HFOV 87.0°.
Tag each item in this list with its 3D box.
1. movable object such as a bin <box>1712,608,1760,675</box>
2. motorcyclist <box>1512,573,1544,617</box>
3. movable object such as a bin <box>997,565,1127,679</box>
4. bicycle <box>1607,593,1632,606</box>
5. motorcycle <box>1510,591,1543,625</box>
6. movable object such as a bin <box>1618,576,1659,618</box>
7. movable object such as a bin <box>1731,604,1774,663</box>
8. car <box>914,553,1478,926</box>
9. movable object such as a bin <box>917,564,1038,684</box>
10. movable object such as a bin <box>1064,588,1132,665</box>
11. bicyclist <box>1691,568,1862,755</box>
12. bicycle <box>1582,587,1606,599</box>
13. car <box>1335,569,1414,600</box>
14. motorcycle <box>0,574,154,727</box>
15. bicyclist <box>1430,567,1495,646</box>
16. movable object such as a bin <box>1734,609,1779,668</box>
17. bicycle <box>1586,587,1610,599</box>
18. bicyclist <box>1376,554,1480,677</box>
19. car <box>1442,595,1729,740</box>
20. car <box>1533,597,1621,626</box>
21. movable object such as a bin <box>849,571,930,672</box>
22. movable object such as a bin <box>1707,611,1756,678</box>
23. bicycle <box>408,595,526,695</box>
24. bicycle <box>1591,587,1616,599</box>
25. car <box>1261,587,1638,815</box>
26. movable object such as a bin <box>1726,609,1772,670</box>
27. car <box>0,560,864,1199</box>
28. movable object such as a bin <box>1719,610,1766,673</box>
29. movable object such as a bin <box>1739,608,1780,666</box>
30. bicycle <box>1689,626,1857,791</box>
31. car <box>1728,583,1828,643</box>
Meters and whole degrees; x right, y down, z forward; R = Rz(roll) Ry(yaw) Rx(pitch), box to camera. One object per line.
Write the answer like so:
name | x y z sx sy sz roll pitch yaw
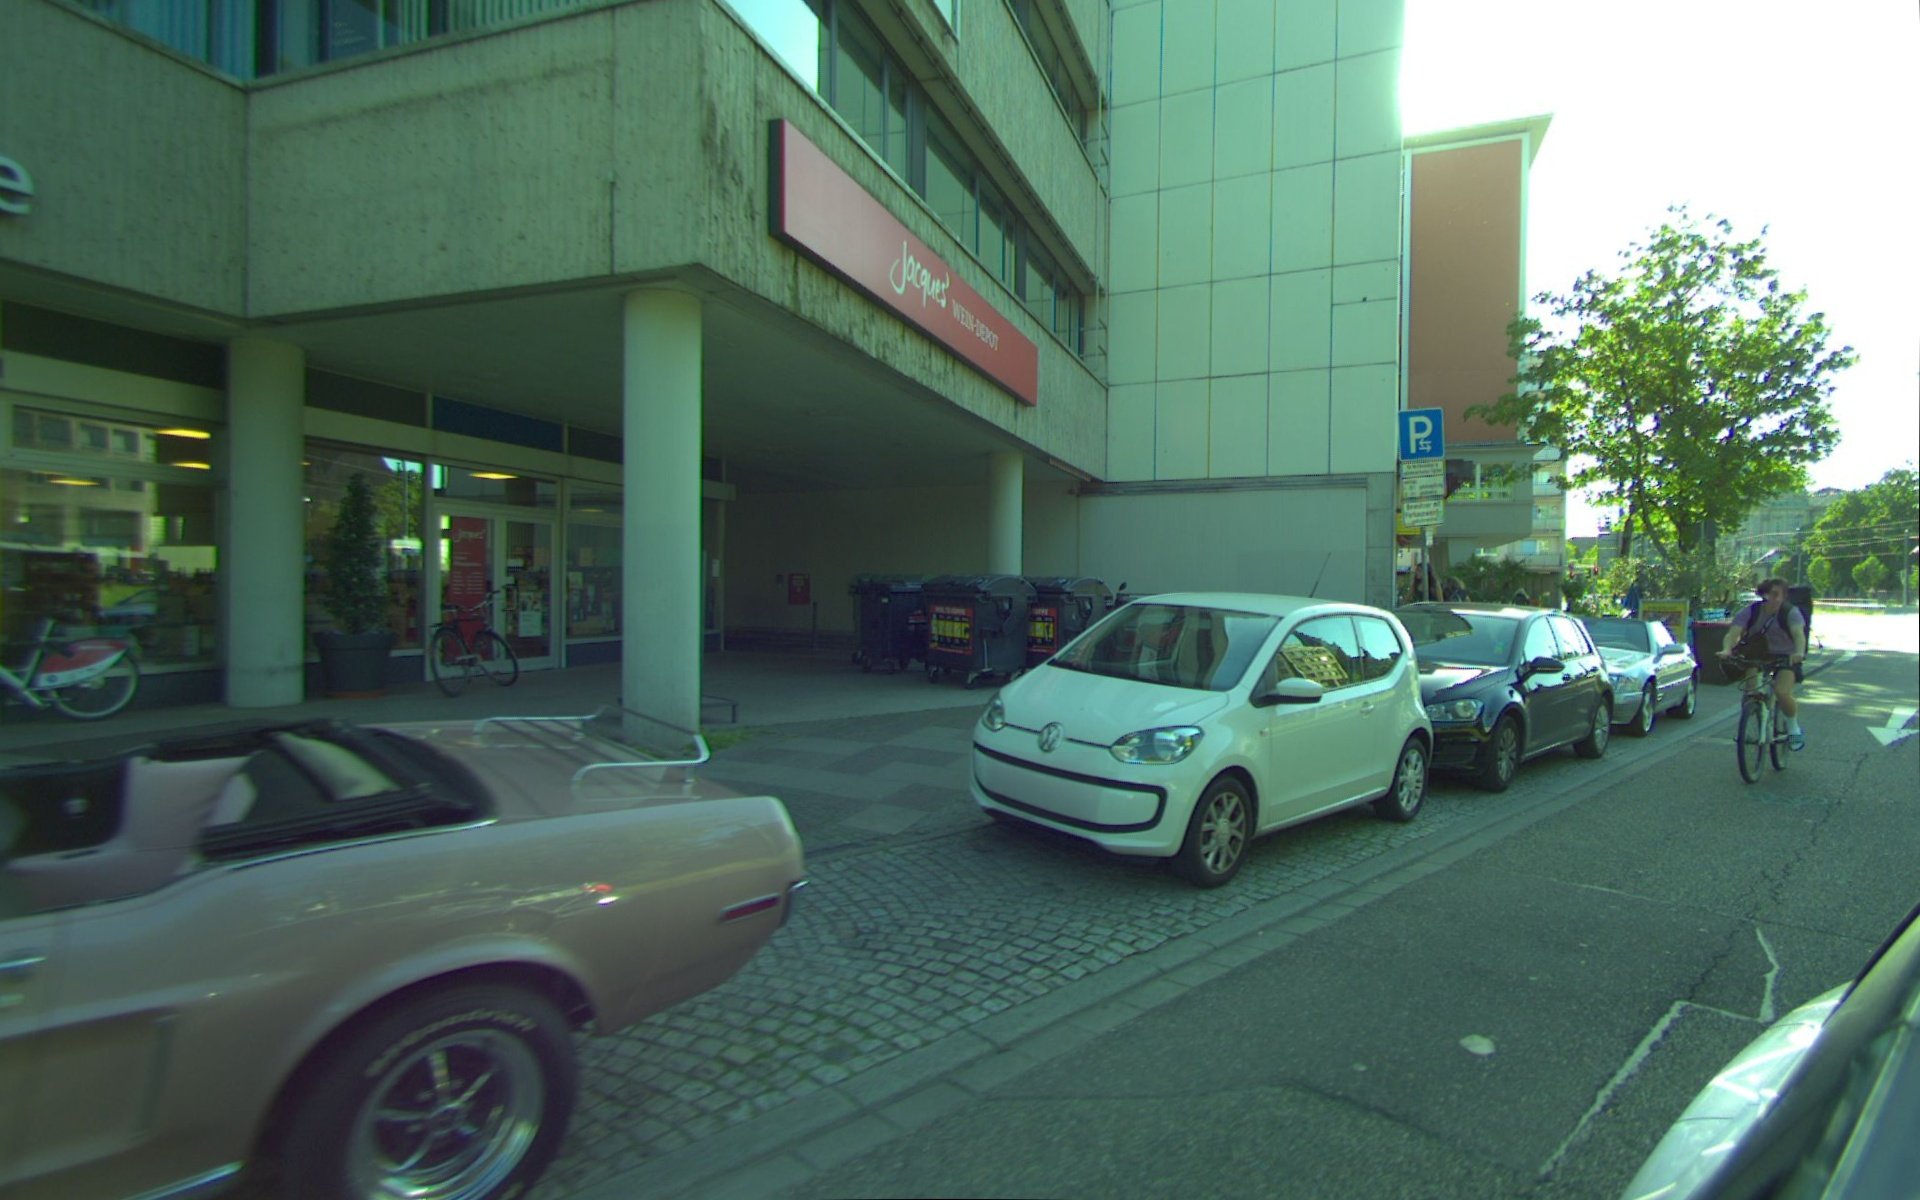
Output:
movable object such as a bin | 13.618 0.720 17.757 0.609 1.119 0.518 -1 0 43
motorcyclist | 20.771 -0.186 37.005 0.895 1.570 0.796 -2 0 37
movable object such as a bin | 1.353 0.267 13.551 1.101 1.415 1.339 -2 1 -36
bicycle | 55.446 -0.074 85.065 1.683 1.024 0.408 1 1 19
motorcycle | 20.695 0.267 36.920 0.773 1.140 2.268 -2 1 36
movable object such as a bin | 28.543 -0.129 42.578 1.245 1.730 0.939 0 2 21
movable object such as a bin | 14.899 0.623 19.029 0.590 1.082 0.488 -1 0 43
car | 1.743 0.586 6.648 3.805 1.710 1.852 -3 1 -45
movable object such as a bin | 0.211 0.290 13.137 0.941 1.451 1.304 -2 0 -36
movable object such as a bin | 2.158 0.402 15.831 0.710 1.148 0.745 -2 0 -38
bicyclist | 7.161 0.490 8.881 0.972 1.502 1.038 -2 0 -44
bicycle | 58.267 -0.668 92.943 1.799 1.073 0.413 1 1 18
car | 30.454 -1.131 74.343 5.202 2.226 2.356 1 1 26
motorcycle | -7.698 0.397 7.962 0.509 1.183 2.076 -1 -1 34
bicyclist | 8.861 0.099 17.835 0.757 1.343 0.979 -1 0 42
movable object such as a bin | 15.301 0.721 19.430 0.618 1.082 0.601 -1 0 43
bicycle | 58.035 -0.614 92.046 1.799 1.074 0.413 0 1 18
bicyclist | 6.660 0.206 14.430 0.916 1.654 0.944 -2 0 -12
car | 7.943 0.698 12.661 4.522 1.361 1.853 -3 1 -42
car | 36.647 0.663 60.196 4.111 1.521 1.834 -2 2 20
movable object such as a bin | -1.020 0.296 14.658 0.836 1.400 0.795 -2 0 -36
movable object such as a bin | 13.219 0.755 17.331 0.592 1.097 0.595 -1 0 43
bicycle | -5.391 0.458 11.179 0.667 0.993 1.860 -1 0 -10
bicycle | 57.393 -0.626 90.279 1.799 1.082 0.413 1 2 18
car | 4.637 0.713 9.290 4.128 1.537 1.673 -3 1 -42
movable object such as a bin | 14.504 0.714 18.607 0.605 1.082 0.604 -1 0 42
car | -2.600 0.710 1.995 4.651 1.472 1.776 -3 1 -42
movable object such as a bin | 14.025 0.736 18.140 0.604 1.082 0.537 -1 0 43
movable object such as a bin | 15.699 0.717 19.864 0.573 1.096 0.562 -1 0 43
bicycle | 7.190 0.866 8.903 2.193 1.150 0.886 -2 1 -44
car | 22.184 0.297 27.382 1.765 1.456 4.512 2 2 43
